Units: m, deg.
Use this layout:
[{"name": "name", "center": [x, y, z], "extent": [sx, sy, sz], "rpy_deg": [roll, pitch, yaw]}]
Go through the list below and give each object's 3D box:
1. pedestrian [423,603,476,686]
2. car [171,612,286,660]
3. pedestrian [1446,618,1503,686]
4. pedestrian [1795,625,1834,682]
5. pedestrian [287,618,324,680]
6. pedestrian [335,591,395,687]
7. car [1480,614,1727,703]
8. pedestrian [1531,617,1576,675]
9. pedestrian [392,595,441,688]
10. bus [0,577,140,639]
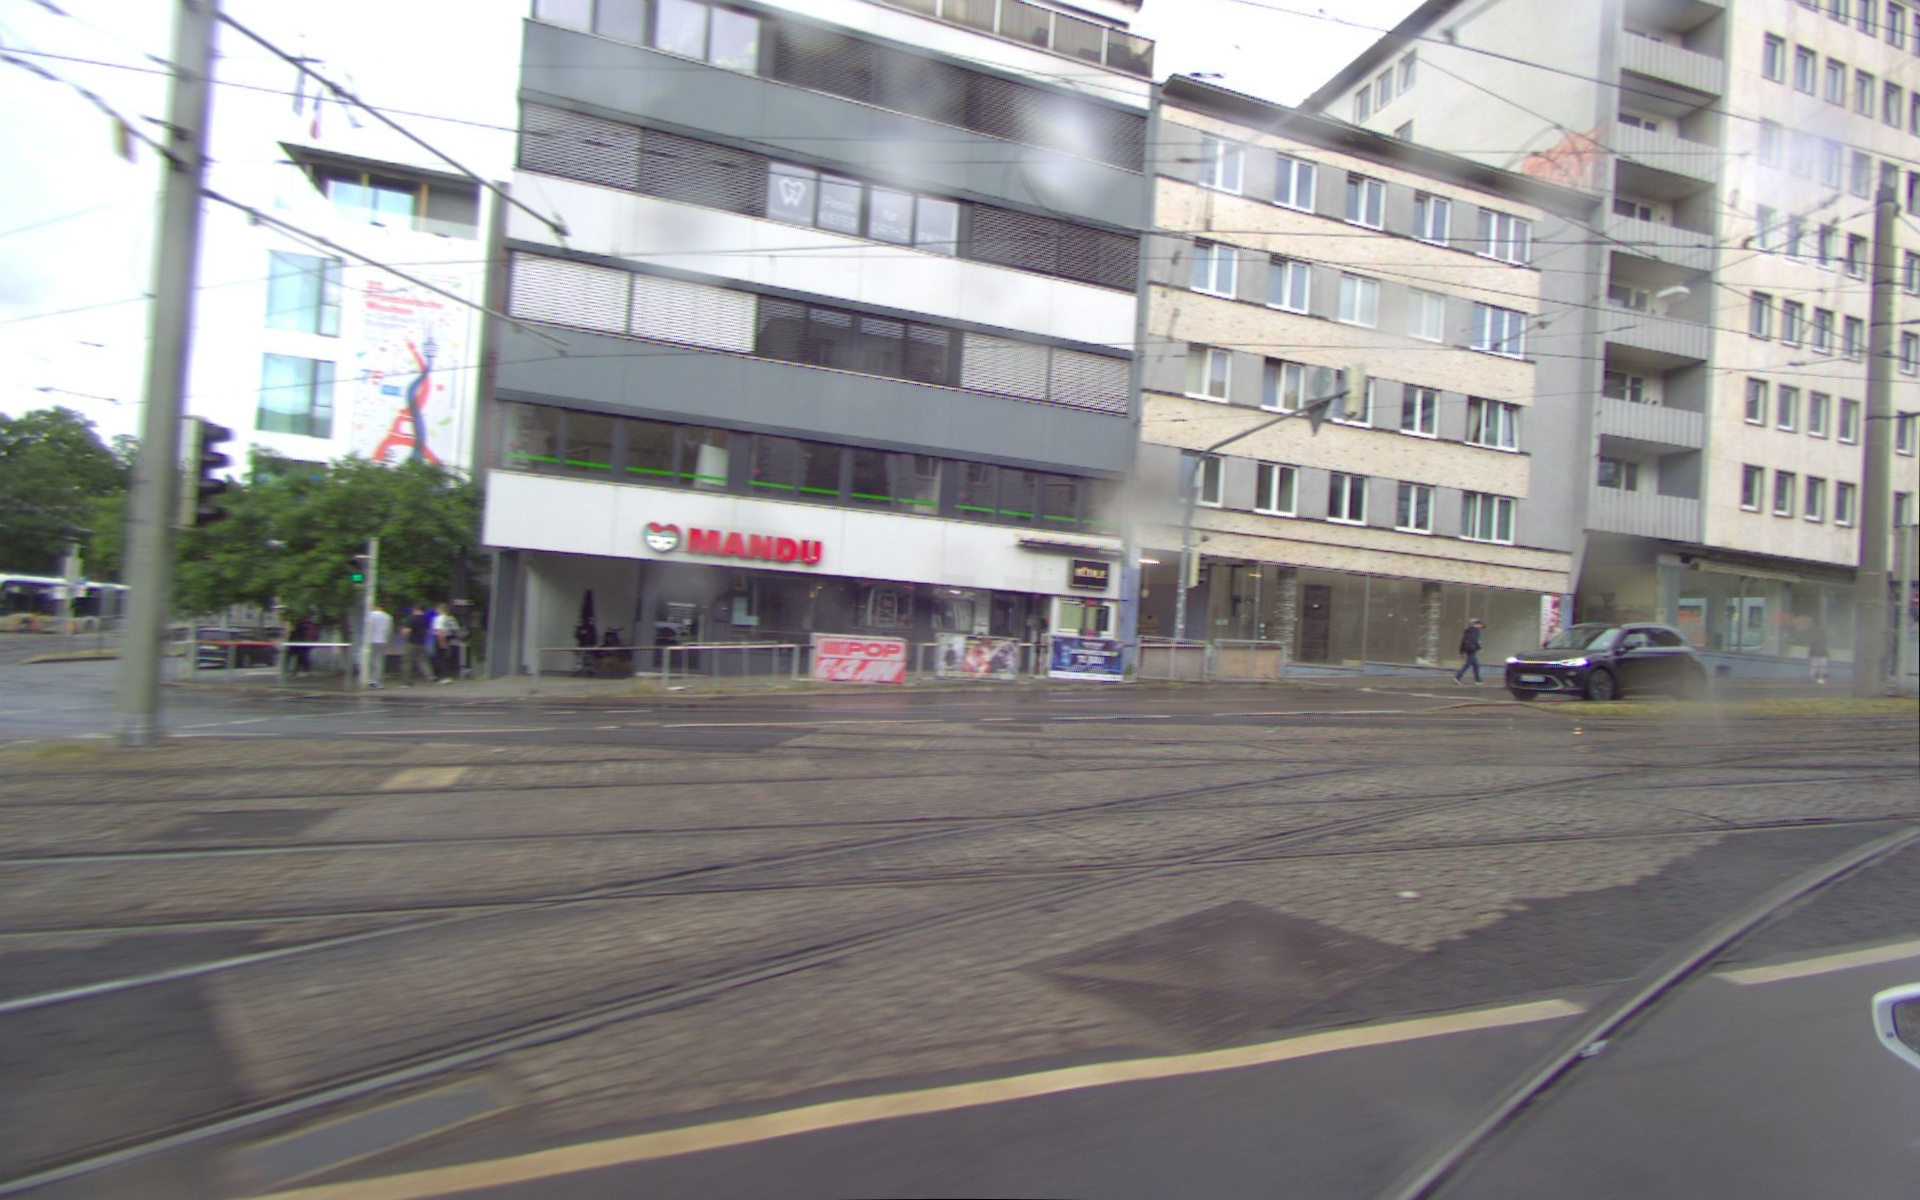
[{"name": "pedestrian", "center": [-11.337, 0.992, 22.319], "extent": [0.706, 1.785, 0.697], "rpy_deg": [2, -1, 30]}, {"name": "car", "center": [-27.885, 1.331, 38.454], "extent": [2.009, 1.605, 4.378], "rpy_deg": [4, -1, -15]}, {"name": "pedestrian", "center": [13.315, 1.330, 25.995], "extent": [0.985, 1.703, 0.885], "rpy_deg": [2, -1, -25]}, {"name": "pedestrian", "center": [27.036, 1.679, 31.780], "extent": [0.896, 1.761, 0.596], "rpy_deg": [2, -1, -21]}, {"name": "pedestrian", "center": [-17.087, 1.265, 26.220], "extent": [0.532, 1.584, 0.522], "rpy_deg": [2, -1, 5]}, {"name": "pedestrian", "center": [-12.412, 0.800, 20.963], "extent": [0.705, 1.939, 0.698], "rpy_deg": [2, -1, 23]}, {"name": "car", "center": [13.308, 1.188, 20.805], "extent": [4.456, 1.695, 1.992], "rpy_deg": [1, -1, -19]}, {"name": "pedestrian", "center": [17.683, 1.364, 29.931], "extent": [0.984, 1.703, 0.678], "rpy_deg": [2, -1, -21]}, {"name": "pedestrian", "center": [-11.651, 0.883, 21.564], "extent": [0.686, 1.939, 0.717], "rpy_deg": [3, -1, -15]}, {"name": "bus", "center": [-54.420, 0.463, 60.151], "extent": [3.035, 3.344, 12.487], "rpy_deg": [3, -1, -14]}]
